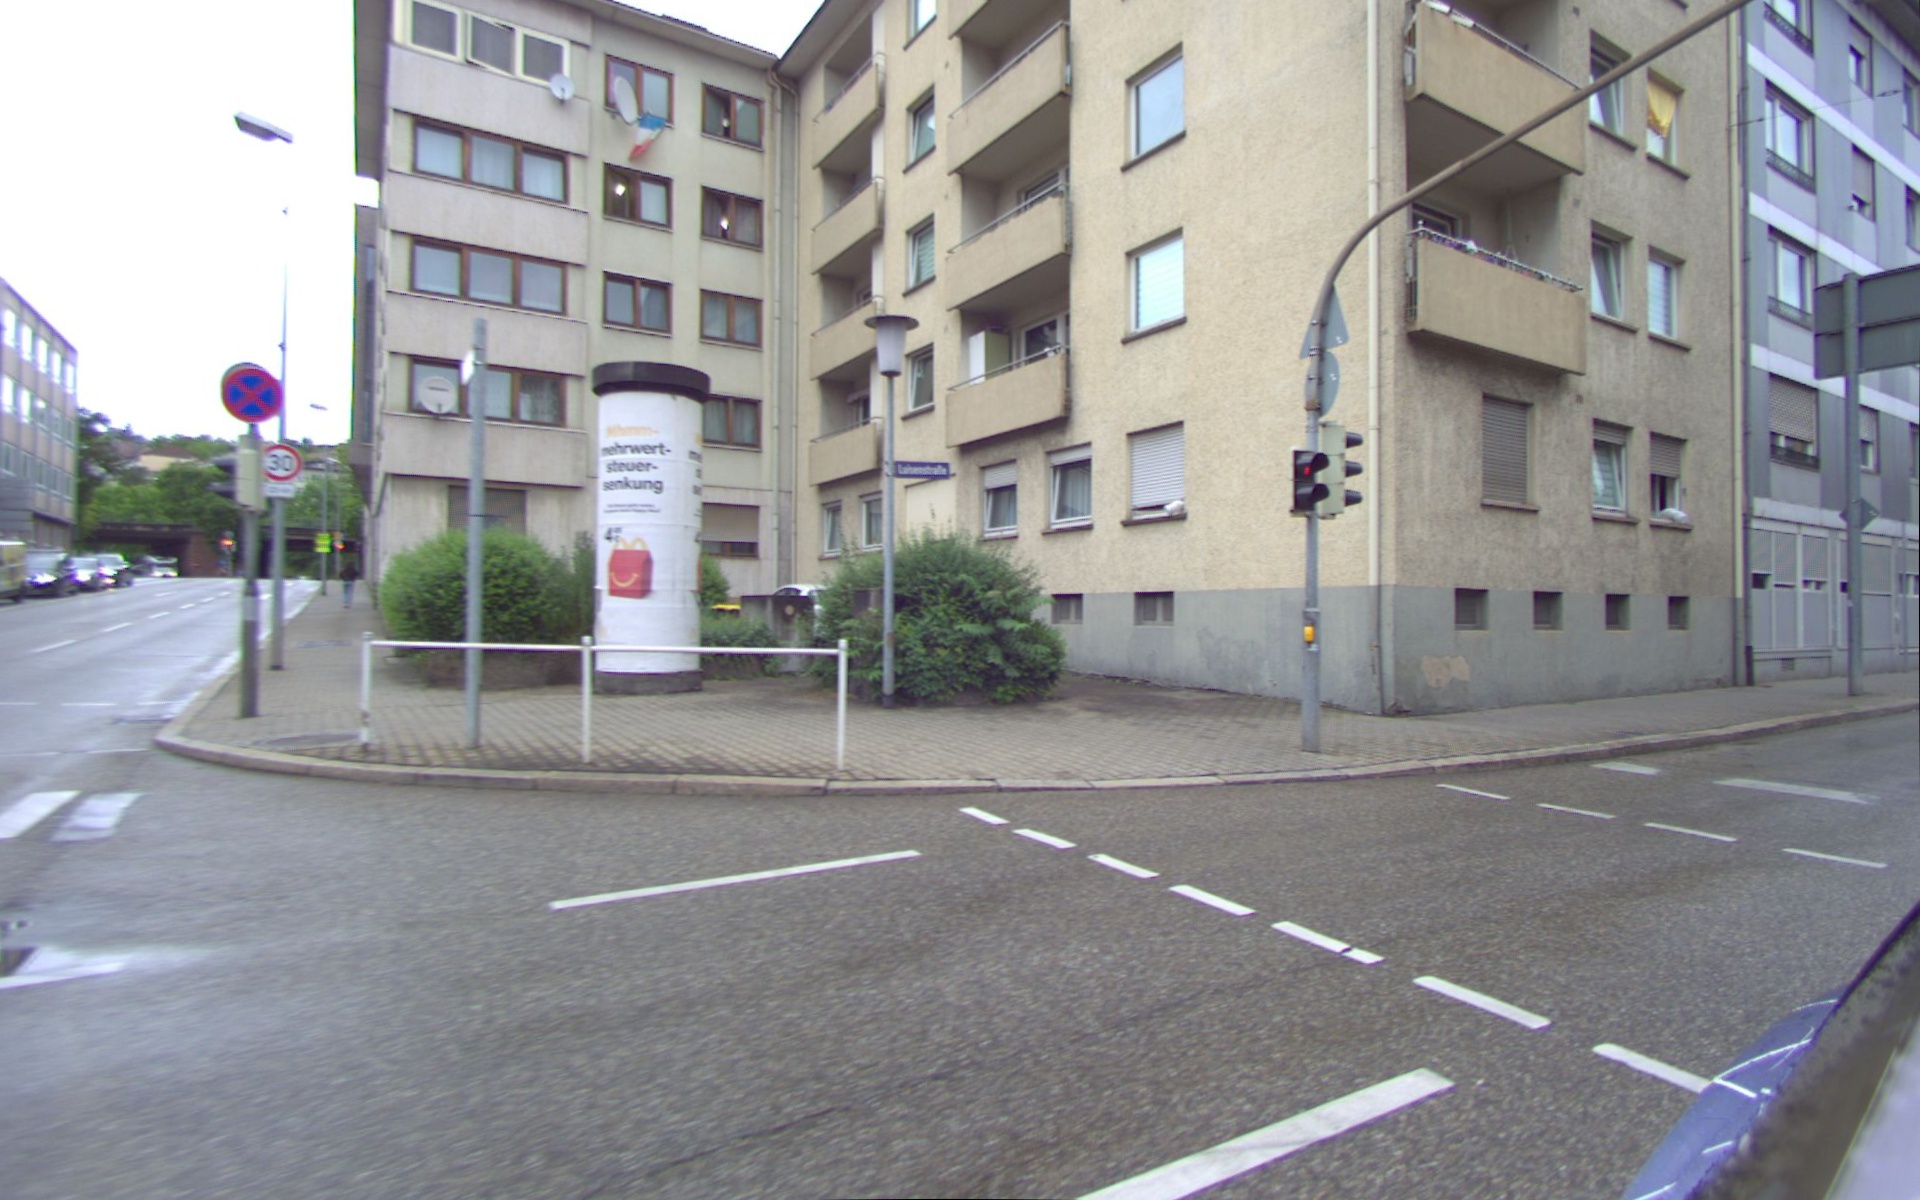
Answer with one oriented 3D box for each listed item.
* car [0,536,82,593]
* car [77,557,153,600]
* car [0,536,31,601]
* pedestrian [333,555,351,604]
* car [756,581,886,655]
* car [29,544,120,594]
[{"bbox_3d":[-33.353,-1.214,36.514,1.692,1.882,4.354,-1,0,-29],"label":"car"},{"bbox_3d":[-39.508,-0.954,47.445,1.878,1.882,4.860,-1,0,-29],"label":"car"},{"bbox_3d":[-30.045,-0.946,30.532,1.905,1.940,4.860,-1,0,-29],"label":"car"},{"bbox_3d":[-22.123,-0.715,36.220,0.526,1.722,0.503,0,-2,-36],"label":"pedestrian"},{"bbox_3d":[-3.275,0.352,23.424,1.732,1.492,3.327,-1,2,-33],"label":"car"},{"bbox_3d":[-36.691,-1.229,42.078,1.878,1.882,4.860,-1,0,-29],"label":"car"}]
